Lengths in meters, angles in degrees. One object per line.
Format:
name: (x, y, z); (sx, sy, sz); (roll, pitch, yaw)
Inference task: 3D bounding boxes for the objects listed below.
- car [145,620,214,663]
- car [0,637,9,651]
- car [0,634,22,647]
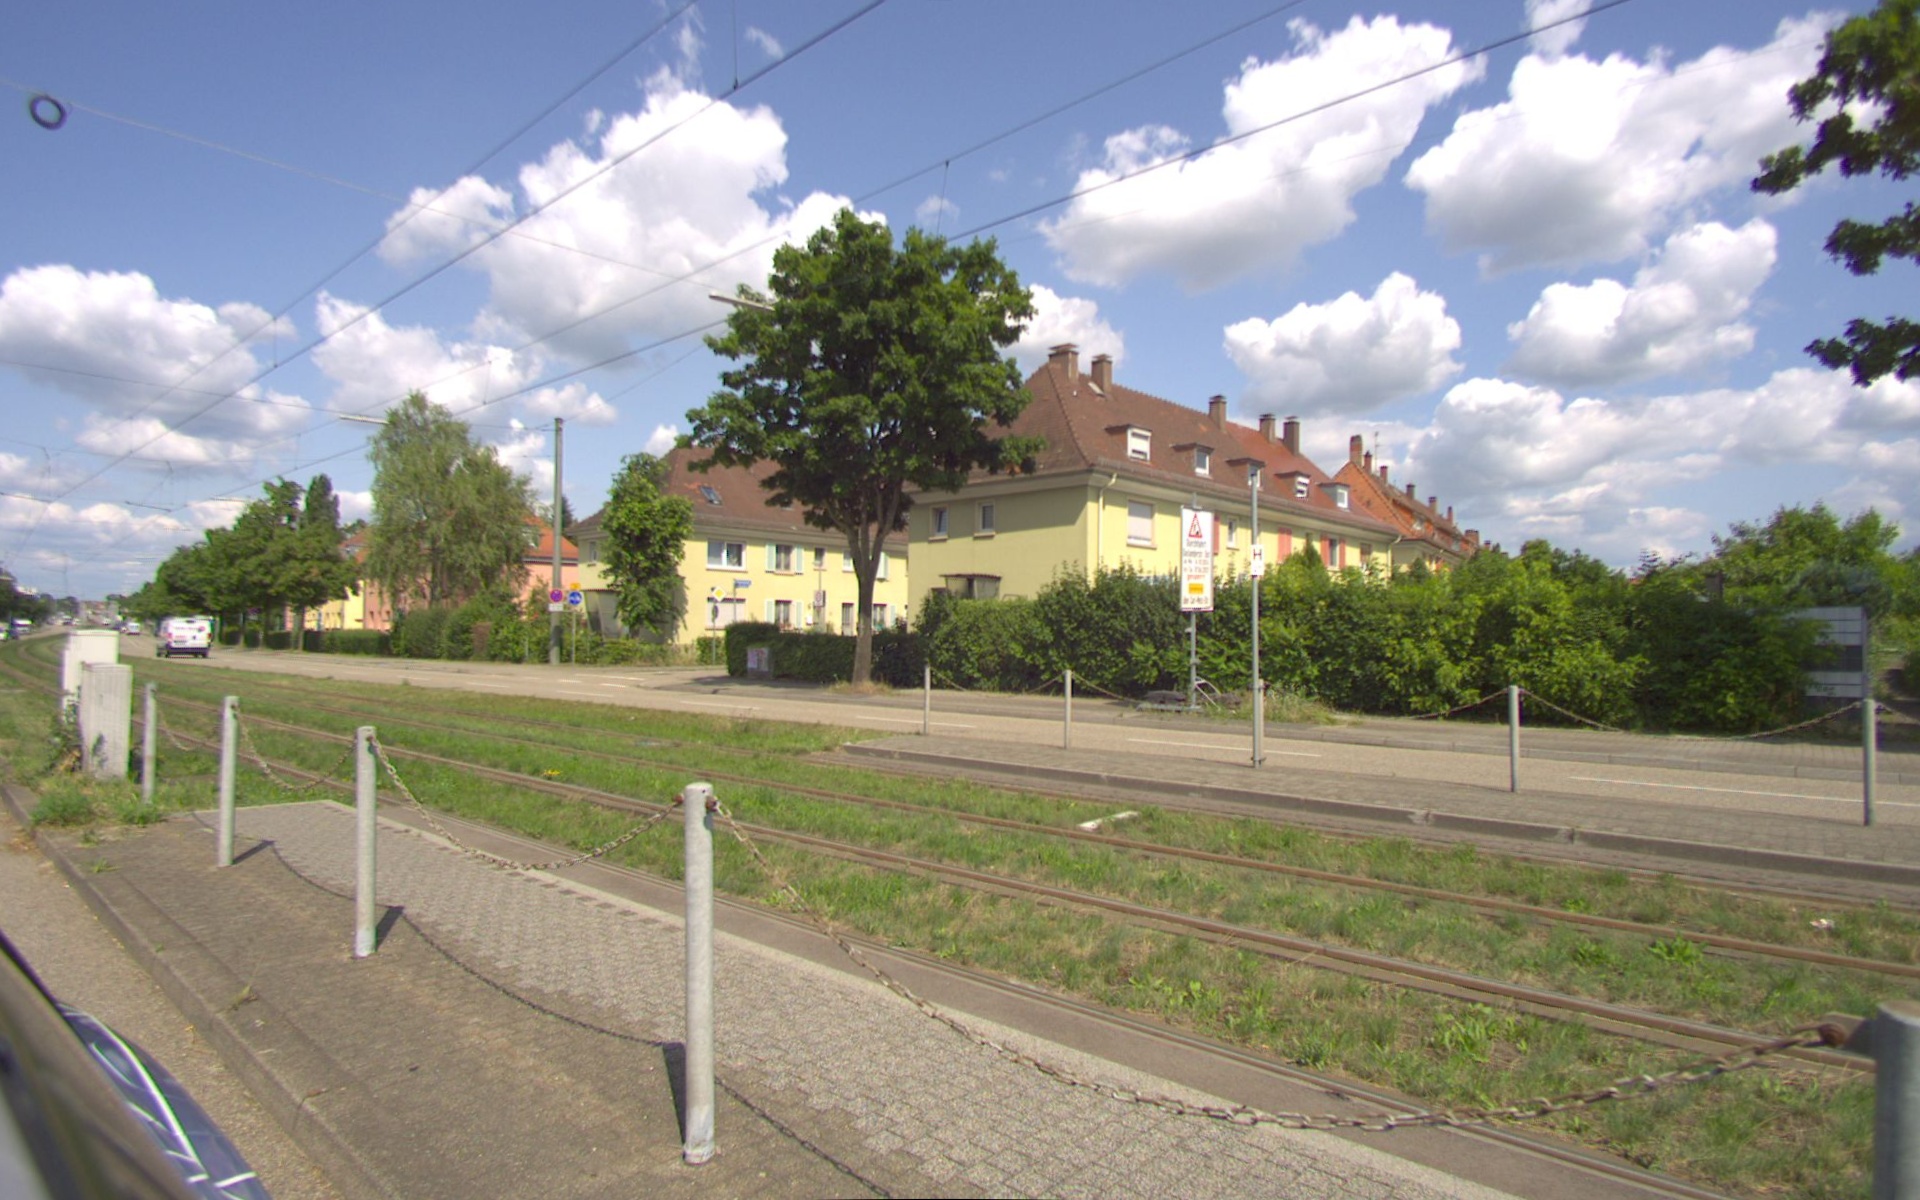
car: (-46.326, 2.450, 60.028); (5.330, 2.390, 2.173); (-1, -4, 42)
car: (-109.964, 5.072, 115.489); (1.969, 1.497, 4.005); (0, -1, -42)
car: (-120.256, 5.126, 128.271); (1.969, 1.497, 4.005); (0, -1, -42)
